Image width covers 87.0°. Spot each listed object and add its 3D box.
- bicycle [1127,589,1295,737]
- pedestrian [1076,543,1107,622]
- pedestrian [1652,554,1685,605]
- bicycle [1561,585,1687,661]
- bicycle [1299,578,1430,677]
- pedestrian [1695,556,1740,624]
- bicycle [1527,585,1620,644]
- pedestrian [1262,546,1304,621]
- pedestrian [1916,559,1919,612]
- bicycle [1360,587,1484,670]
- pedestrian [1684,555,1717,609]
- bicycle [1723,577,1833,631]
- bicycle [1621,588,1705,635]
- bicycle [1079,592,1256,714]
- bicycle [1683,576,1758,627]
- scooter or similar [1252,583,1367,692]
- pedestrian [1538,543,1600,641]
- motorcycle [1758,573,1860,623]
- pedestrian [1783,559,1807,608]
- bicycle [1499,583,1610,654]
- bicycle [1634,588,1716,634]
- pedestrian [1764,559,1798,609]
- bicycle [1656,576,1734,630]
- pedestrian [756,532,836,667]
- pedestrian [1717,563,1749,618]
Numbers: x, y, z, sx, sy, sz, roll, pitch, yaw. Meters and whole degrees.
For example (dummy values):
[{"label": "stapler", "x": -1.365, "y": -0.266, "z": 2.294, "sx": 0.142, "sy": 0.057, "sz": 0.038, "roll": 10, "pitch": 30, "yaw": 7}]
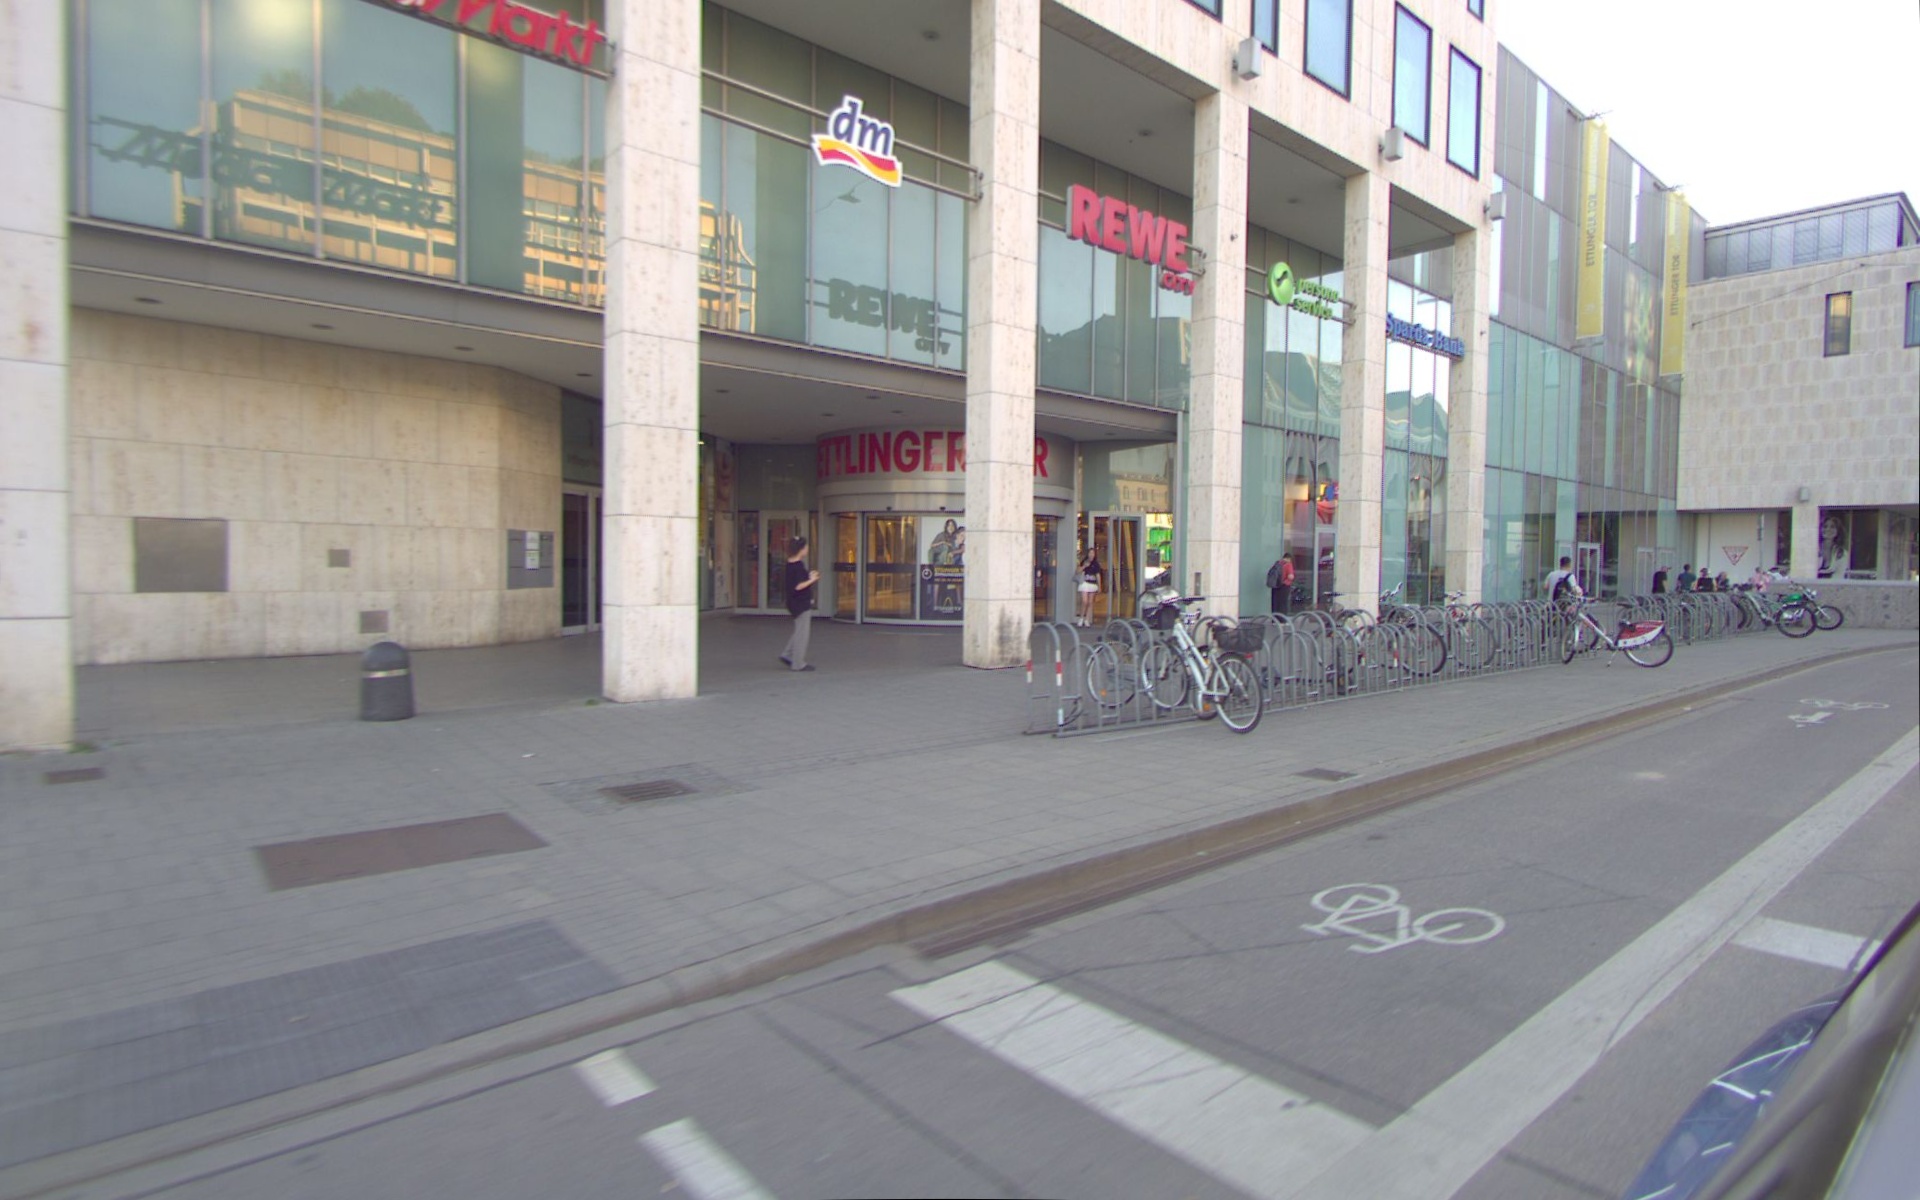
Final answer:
[{"label": "bicycle", "x": 2.264, "y": 0.522, "z": 9.275, "sx": 0.538, "sy": 1.198, "sz": 1.485, "roll": 0, "pitch": 2, "yaw": -35}, {"label": "pedestrian", "x": 2.827, "y": -0.394, "z": 21.865, "sx": 0.618, "sy": 1.672, "sz": 0.707, "roll": 1, "pitch": 2, "yaw": 5}, {"label": "pedestrian", "x": 23.608, "y": -0.679, "z": 33.724, "sx": 0.807, "sy": 1.668, "sz": 0.739, "roll": -1, "pitch": 2, "yaw": -44}, {"label": "bicycle", "x": 9.954, "y": 0.330, "z": 15.212, "sx": 0.458, "sy": 1.077, "sz": 1.518, "roll": -1, "pitch": 0, "yaw": -39}, {"label": "bicycle", "x": 5.397, "y": 0.344, "z": 13.564, "sx": 0.607, "sy": 1.243, "sz": 1.517, "roll": -1, "pitch": 0, "yaw": -41}, {"label": "pedestrian", "x": 19.151, "y": -0.269, "z": 25.610, "sx": 0.802, "sy": 1.663, "sz": 0.640, "roll": 2, "pitch": 2, "yaw": 31}, {"label": "bicycle", "x": 11.718, "y": 0.266, "z": 19.348, "sx": 1.439, "sy": 1.078, "sz": 0.572, "roll": -1, "pitch": 0, "yaw": 39}, {"label": "pedestrian", "x": 7.350, "y": -0.384, "z": 23.032, "sx": 0.695, "sy": 1.672, "sz": 0.629, "roll": -1, "pitch": 2, "yaw": -40}, {"label": "pedestrian", "x": 32.385, "y": -0.470, "z": 33.857, "sx": 0.483, "sy": 1.765, "sz": 0.455, "roll": -1, "pitch": 2, "yaw": -38}, {"label": "bicycle", "x": 6.630, "y": 0.389, "z": 14.568, "sx": 0.543, "sy": 1.120, "sz": 1.516, "roll": -1, "pitch": 0, "yaw": -43}, {"label": "pedestrian", "x": 24.241, "y": -0.597, "z": 33.126, "sx": 0.807, "sy": 1.717, "sz": 0.697, "roll": -1, "pitch": 2, "yaw": -44}, {"label": "bicycle", "x": 18.271, "y": 0.077, "z": 22.640, "sx": 0.458, "sy": 1.161, "sz": 1.837, "roll": -1, "pitch": 0, "yaw": -39}, {"label": "bicycle", "x": 14.652, "y": 0.240, "z": 21.105, "sx": 0.509, "sy": 0.944, "sz": 1.344, "roll": -1, "pitch": 0, "yaw": -41}, {"label": "bicycle", "x": 2.086, "y": 0.495, "z": 10.341, "sx": 1.768, "sy": 1.091, "sz": 0.475, "roll": 3, "pitch": 3, "yaw": 43}, {"label": "bicycle", "x": 18.100, "y": 0.043, "z": 24.115, "sx": 0.509, "sy": 1.178, "sz": 1.344, "roll": -1, "pitch": 0, "yaw": -41}, {"label": "scooter or similar", "x": 4.185, "y": 0.421, "z": 12.173, "sx": 0.485, "sy": 1.214, "sz": 1.194, "roll": -1, "pitch": 3, "yaw": -44}, {"label": "pedestrian", "x": 10.896, "y": -0.152, "z": 18.116, "sx": 0.693, "sy": 1.713, "sz": 0.631, "roll": 0, "pitch": 2, "yaw": -26}, {"label": "motorcycle", "x": 22.361, "y": -0.066, "z": 26.699, "sx": 0.473, "sy": 1.239, "sz": 2.004, "roll": -1, "pitch": 3, "yaw": -43}, {"label": "pedestrian", "x": 30.378, "y": -0.613, "z": 36.809, "sx": 0.644, "sy": 1.765, "sz": 0.494, "roll": -1, "pitch": 2, "yaw": -38}, {"label": "bicycle", "x": 10.084, "y": 0.302, "z": 17.208, "sx": 0.570, "sy": 1.138, "sz": 1.519, "roll": -1, "pitch": 0, "yaw": -36}, {"label": "bicycle", "x": 15.162, "y": 0.235, "z": 21.484, "sx": 0.509, "sy": 0.944, "sz": 1.344, "roll": -1, "pitch": 0, "yaw": -41}, {"label": "pedestrian", "x": 29.608, "y": -0.599, "z": 36.517, "sx": 0.644, "sy": 1.765, "sz": 0.794, "roll": -1, "pitch": 2, "yaw": -38}, {"label": "bicycle", "x": 16.537, "y": 0.066, "z": 22.791, "sx": 0.509, "sy": 1.178, "sz": 1.344, "roll": -1, "pitch": 0, "yaw": -41}, {"label": "pedestrian", "x": -2.102, "y": -0.030, "z": 12.958, "sx": 0.696, "sy": 1.658, "sz": 0.792, "roll": -1, "pitch": 2, "yaw": -41}, {"label": "pedestrian", "x": 25.449, "y": -0.325, "z": 33.326, "sx": 0.798, "sy": 1.802, "sz": 0.619, "roll": -1, "pitch": 2, "yaw": -38}]
